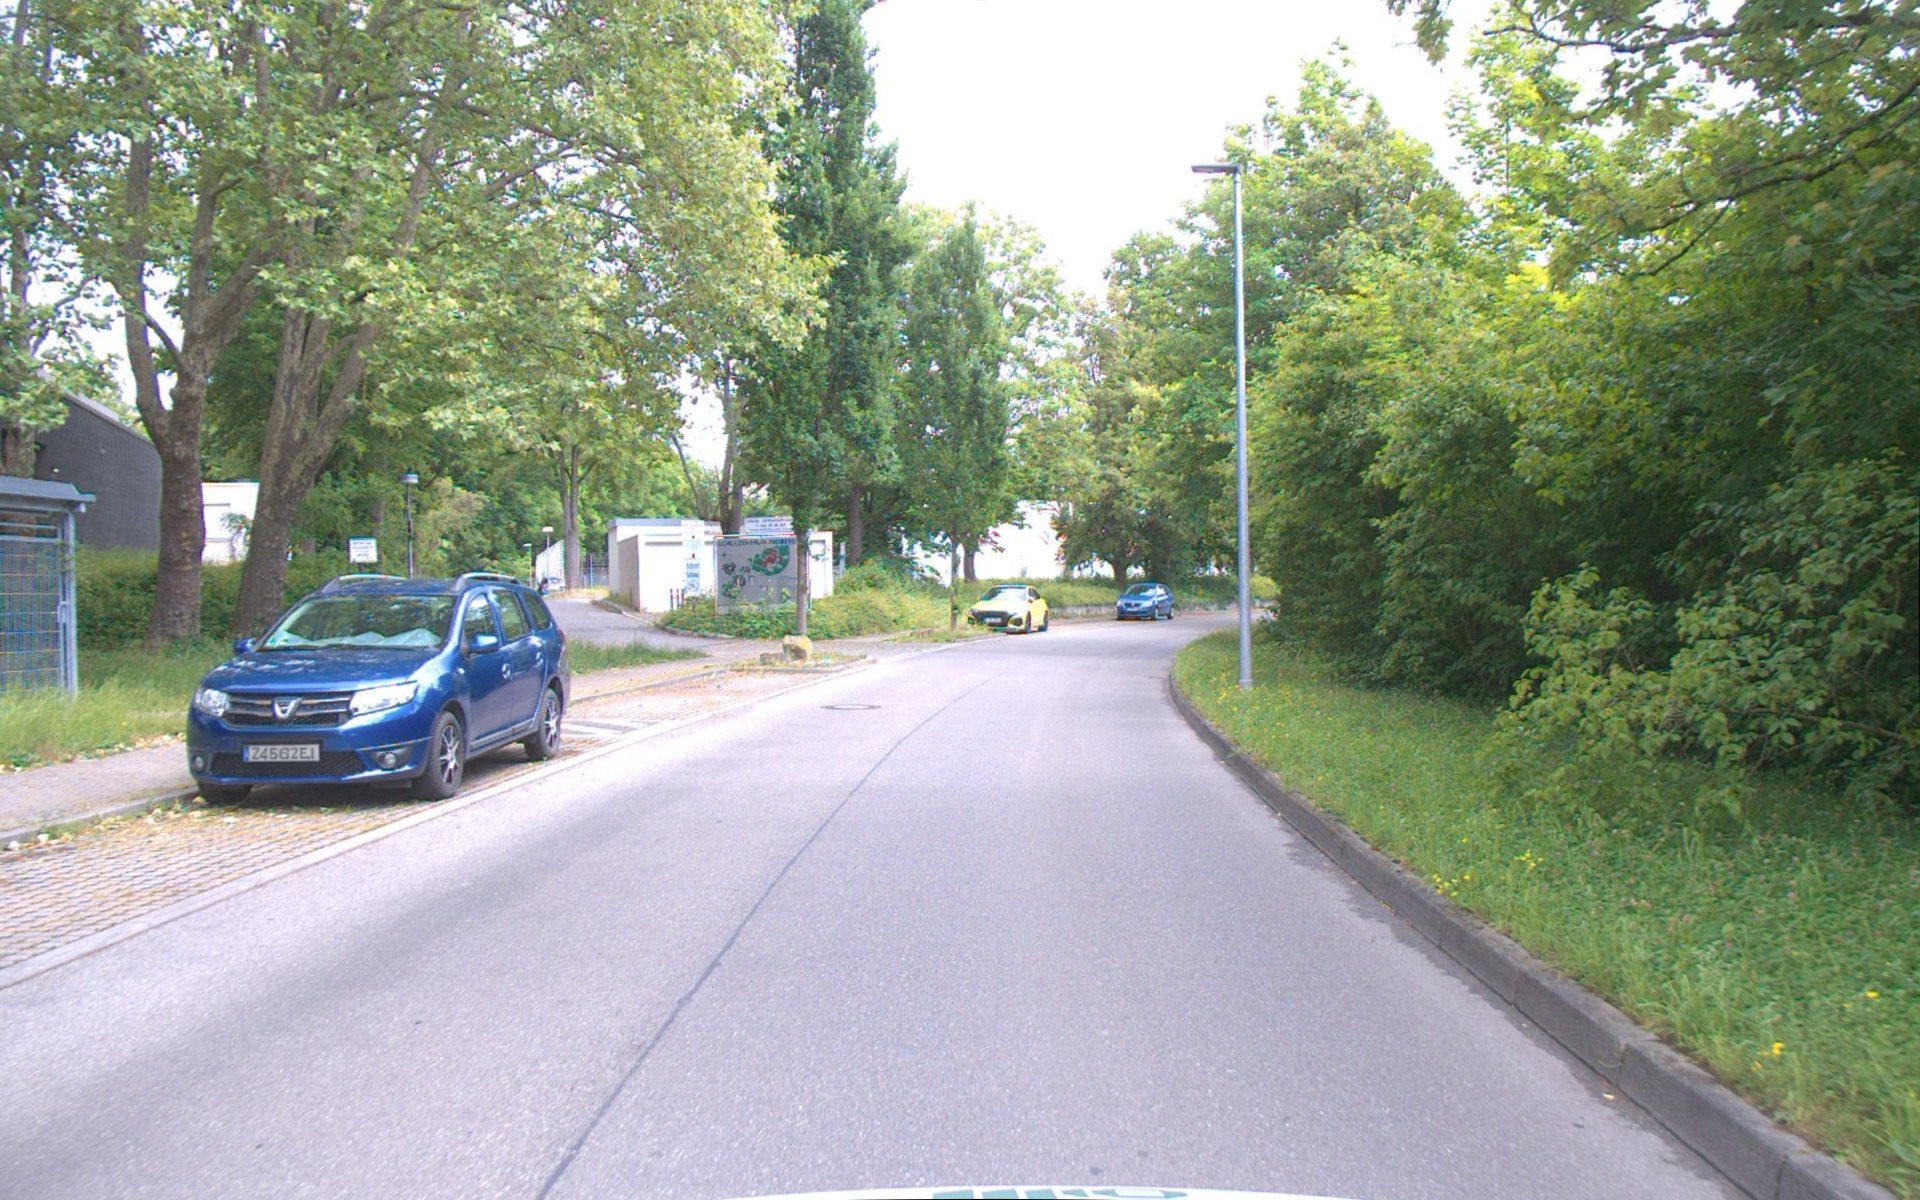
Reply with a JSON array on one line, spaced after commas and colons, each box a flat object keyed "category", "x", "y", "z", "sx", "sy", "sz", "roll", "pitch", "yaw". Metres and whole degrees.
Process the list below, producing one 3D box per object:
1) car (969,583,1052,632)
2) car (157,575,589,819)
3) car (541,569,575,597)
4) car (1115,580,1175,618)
[{"category": "car", "x": 1.576, "y": 0.217, "z": 50.465, "sx": 1.664, "sy": 1.427, "sz": 4.277, "roll": 0, "pitch": 0, "yaw": 14}, {"category": "car", "x": -4.226, "y": 0.595, "z": 12.725, "sx": 1.645, "sy": 1.538, "sz": 4.432, "roll": -1, "pitch": 1, "yaw": 1}, {"category": "car", "x": -26.191, "y": -1.108, "z": 107.881, "sx": 1.838, "sy": 1.776, "sz": 3.990, "roll": -2, "pitch": 1, "yaw": -10}, {"category": "car", "x": 7.561, "y": -0.069, "z": 67.408, "sx": 1.502, "sy": 1.484, "sz": 3.720, "roll": 0, "pitch": 1, "yaw": 22}]
